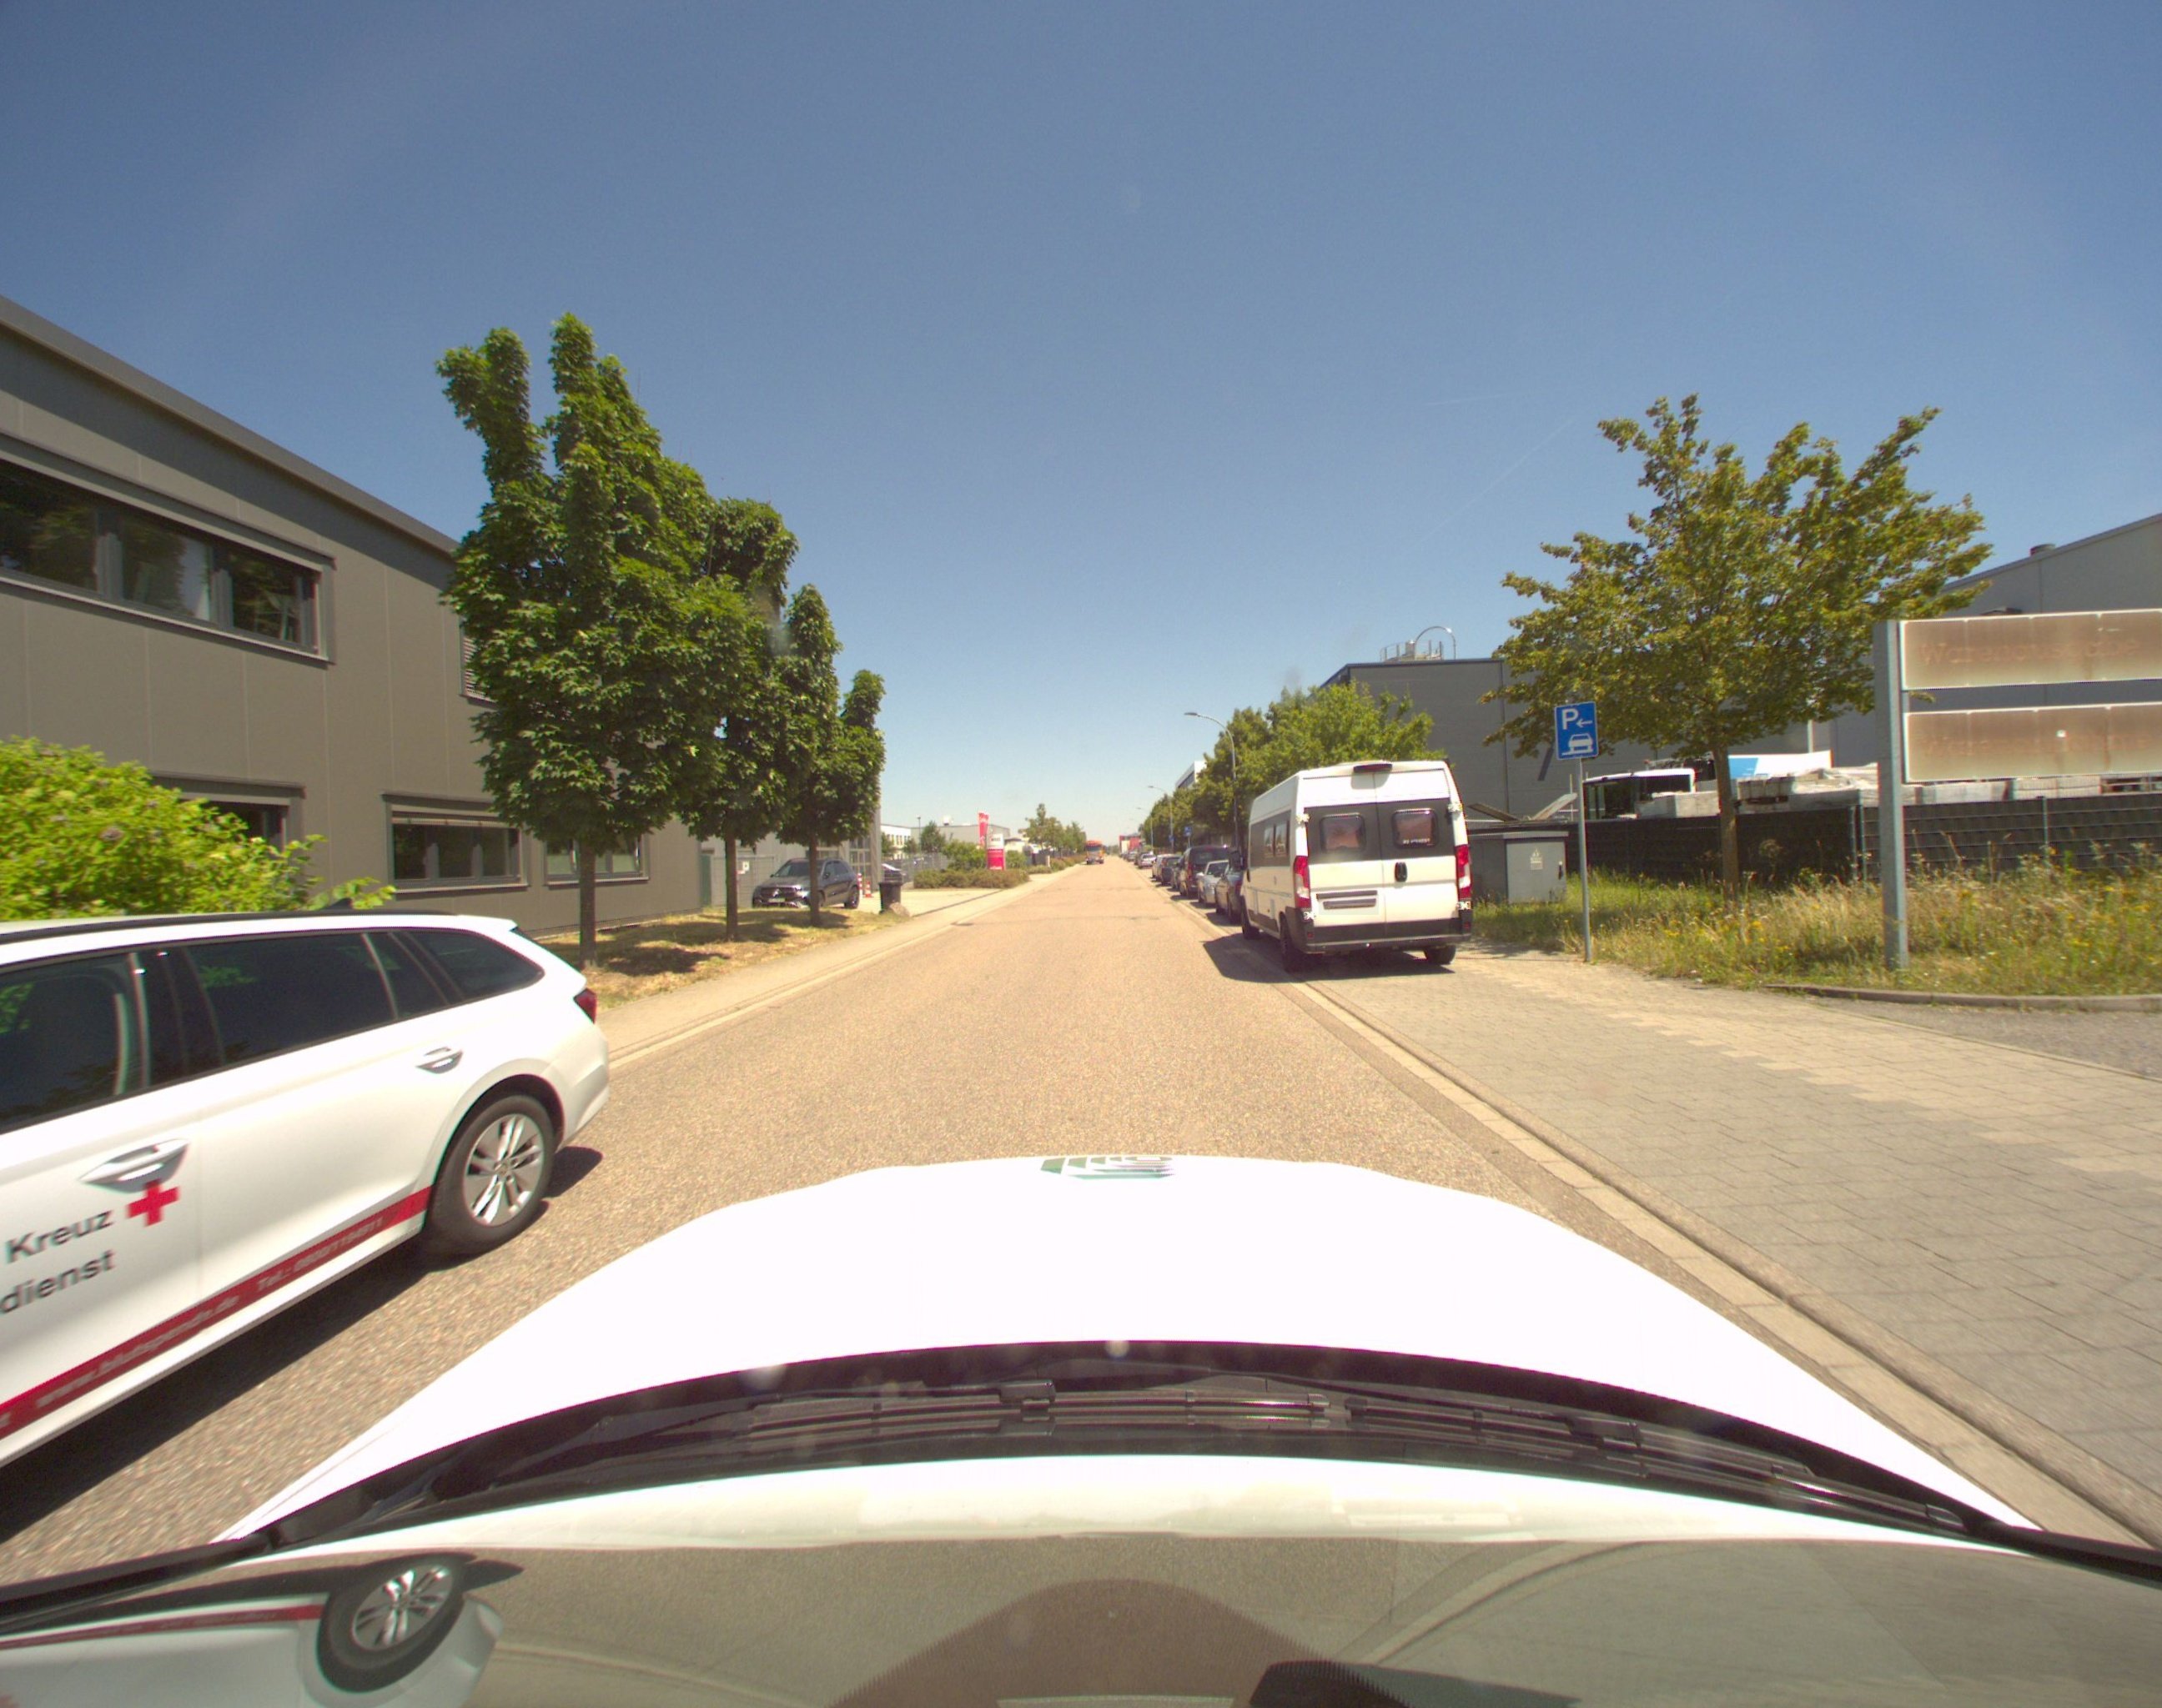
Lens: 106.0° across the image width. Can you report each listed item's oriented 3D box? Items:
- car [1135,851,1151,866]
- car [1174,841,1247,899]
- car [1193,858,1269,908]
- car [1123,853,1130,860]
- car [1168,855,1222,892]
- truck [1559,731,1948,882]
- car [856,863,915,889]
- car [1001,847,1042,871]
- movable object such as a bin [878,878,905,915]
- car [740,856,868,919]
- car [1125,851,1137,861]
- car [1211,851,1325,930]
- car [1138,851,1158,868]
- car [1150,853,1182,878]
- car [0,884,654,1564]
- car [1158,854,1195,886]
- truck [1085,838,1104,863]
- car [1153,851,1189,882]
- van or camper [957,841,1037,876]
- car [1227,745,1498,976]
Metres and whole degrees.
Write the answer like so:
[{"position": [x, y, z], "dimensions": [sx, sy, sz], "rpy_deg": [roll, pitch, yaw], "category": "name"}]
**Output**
[{"position": [7.264, 0.483, 96.329], "dimensions": [1.714, 1.694, 3.987], "rpy_deg": [-3, 0, 3], "category": "car"}, {"position": [4.566, 0.563, 29.273], "dimensions": [1.986, 1.825, 4.356], "rpy_deg": [-3, -1, 2], "category": "car"}, {"position": [4.368, 0.817, 24.224], "dimensions": [1.704, 1.287, 4.119], "rpy_deg": [-3, -1, 4], "category": "car"}, {"position": [10.677, 0.551, 190.064], "dimensions": [1.489, 1.409, 3.502], "rpy_deg": [-3, 0, 2], "category": "car"}, {"position": [4.944, 0.826, 35.764], "dimensions": [1.843, 1.431, 4.715], "rpy_deg": [-3, -1, 2], "category": "car"}, {"position": [20.054, -1.393, 24.497], "dimensions": [9.974, 3.822, 3.028], "rpy_deg": [-3, 0, -9], "category": "truck"}, {"position": [-12.853, 1.442, 53.579], "dimensions": [3.492, 1.552, 1.556], "rpy_deg": [-2, 0, -3], "category": "car"}, {"position": [-7.101, 0.614, 97.160], "dimensions": [4.703, 2.586, 1.999], "rpy_deg": [-3, 0, -2], "category": "car"}, {"position": [-5.611, 1.246, 24.116], "dimensions": [0.577, 1.065, 0.766], "rpy_deg": [0, 0, 2], "category": "movable object such as a bin"}, {"position": [-8.738, 1.005, 26.269], "dimensions": [1.983, 1.735, 4.921], "rpy_deg": [-1, 1, 6], "category": "car"}, {"position": [7.710, 0.283, 125.528], "dimensions": [1.579, 1.409, 3.502], "rpy_deg": [-3, 0, 2], "category": "car"}, {"position": [4.118, 0.720, 18.626], "dimensions": [1.820, 1.493, 4.483], "rpy_deg": [-3, 0, 4], "category": "car"}, {"position": [6.442, 0.537, 78.494], "dimensions": [1.711, 1.450, 3.648], "rpy_deg": [-3, 0, 2], "category": "car"}, {"position": [5.494, 0.697, 53.128], "dimensions": [1.631, 1.469, 3.745], "rpy_deg": [-3, 0, 0], "category": "car"}, {"position": [-3.315, 0.909, 2.247], "dimensions": [1.723, 1.458, 4.494], "rpy_deg": [-2, 0, 2], "category": "car"}, {"position": [4.924, 0.783, 41.751], "dimensions": [1.700, 1.504, 4.715], "rpy_deg": [-3, -1, 7], "category": "car"}, {"position": [2.125, -0.513, 121.193], "dimensions": [2.439, 3.513, 8.277], "rpy_deg": [-4, 0, 2], "category": "truck"}, {"position": [5.219, 0.691, 47.548], "dimensions": [1.741, 1.561, 4.509], "rpy_deg": [-3, 0, 3], "category": "car"}, {"position": [-8.276, 0.456, 80.858], "dimensions": [7.358, 3.037, 2.791], "rpy_deg": [-3, 0, 1], "category": "van or camper"}, {"position": [3.723, 0.087, 12.299], "dimensions": [2.257, 2.497, 6.159], "rpy_deg": [-3, 0, 4], "category": "car"}]
